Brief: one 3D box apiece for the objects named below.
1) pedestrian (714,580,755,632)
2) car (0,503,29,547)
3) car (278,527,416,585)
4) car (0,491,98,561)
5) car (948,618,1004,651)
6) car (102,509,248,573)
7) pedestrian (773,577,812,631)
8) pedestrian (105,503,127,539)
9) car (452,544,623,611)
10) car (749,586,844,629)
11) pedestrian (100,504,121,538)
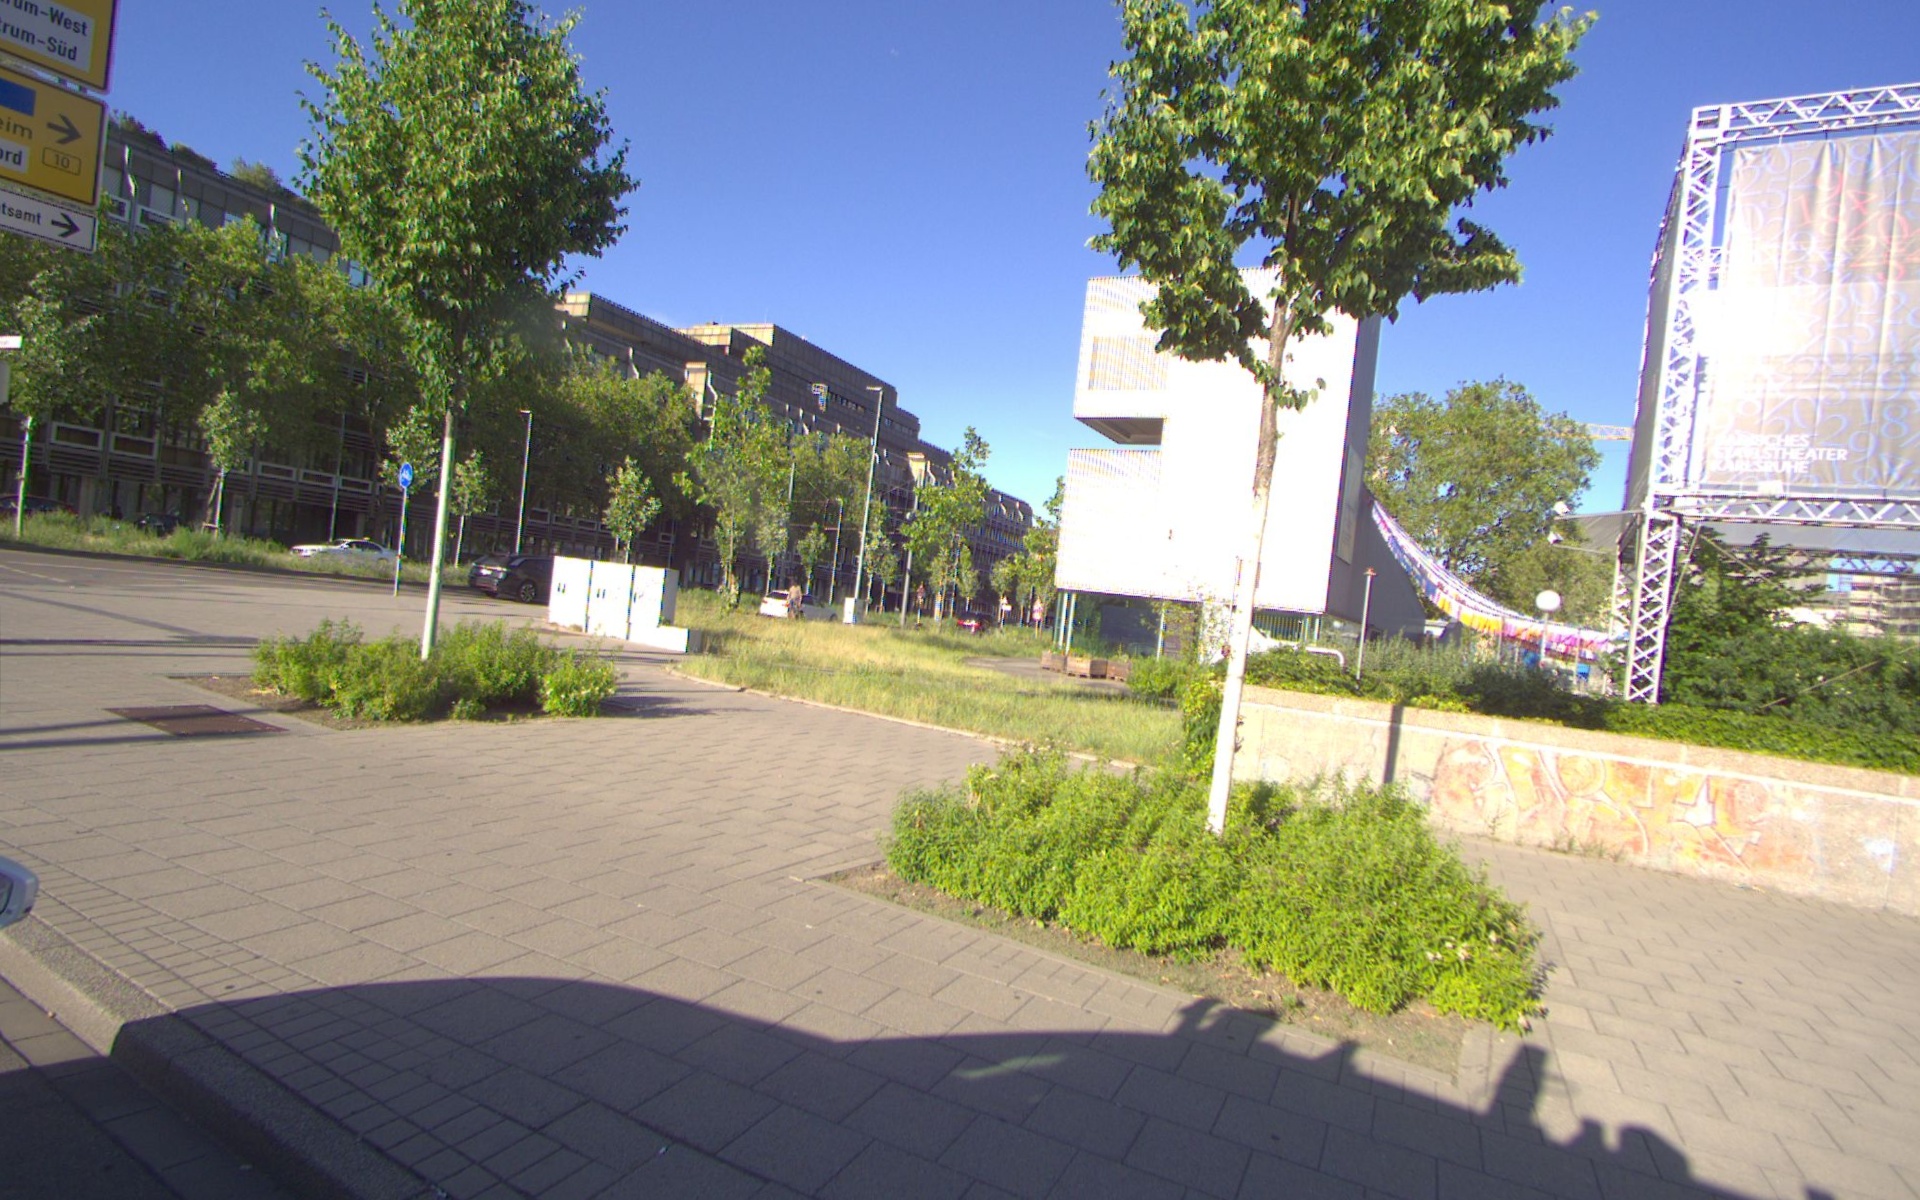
[{"bbox_3d":[-7.690,0.198,34.367,0.925,1.650,0.803,7,1,18],"label":"pedestrian"},{"bbox_3d":[-37.244,-3.044,36.939,1.836,1.525,3.997,7,-2,29],"label":"car"},{"bbox_3d":[-30.676,-2.182,50.579,2.062,2.036,5.455,6,-2,29],"label":"car"},{"bbox_3d":[-33.314,-2.711,35.369,1.966,2.037,3.997,6,-2,29],"label":"car"},{"bbox_3d":[1.062,2.290,65.256,1.963,1.779,4.486,7,-1,23],"label":"car"},{"bbox_3d":[-34.112,-2.530,43.876,1.965,2.036,4.458,7,-2,27],"label":"car"},{"bbox_3d":[-5.806,0.133,34.873,0.925,1.750,0.695,7,1,18],"label":"pedestrian"},{"bbox_3d":[-42.349,-3.954,50.473,0.528,1.690,0.541,7,1,29],"label":"pedestrian"},{"bbox_3d":[-13.710,-0.683,32.991,1.965,1.622,4.946,8,1,28],"label":"car"},{"bbox_3d":[-7.479,0.389,46.535,1.964,1.546,4.700,7,-1,24],"label":"car"},{"bbox_3d":[-42.869,-4.004,50.765,0.576,1.610,0.541,7,1,29],"label":"pedestrian"}]
